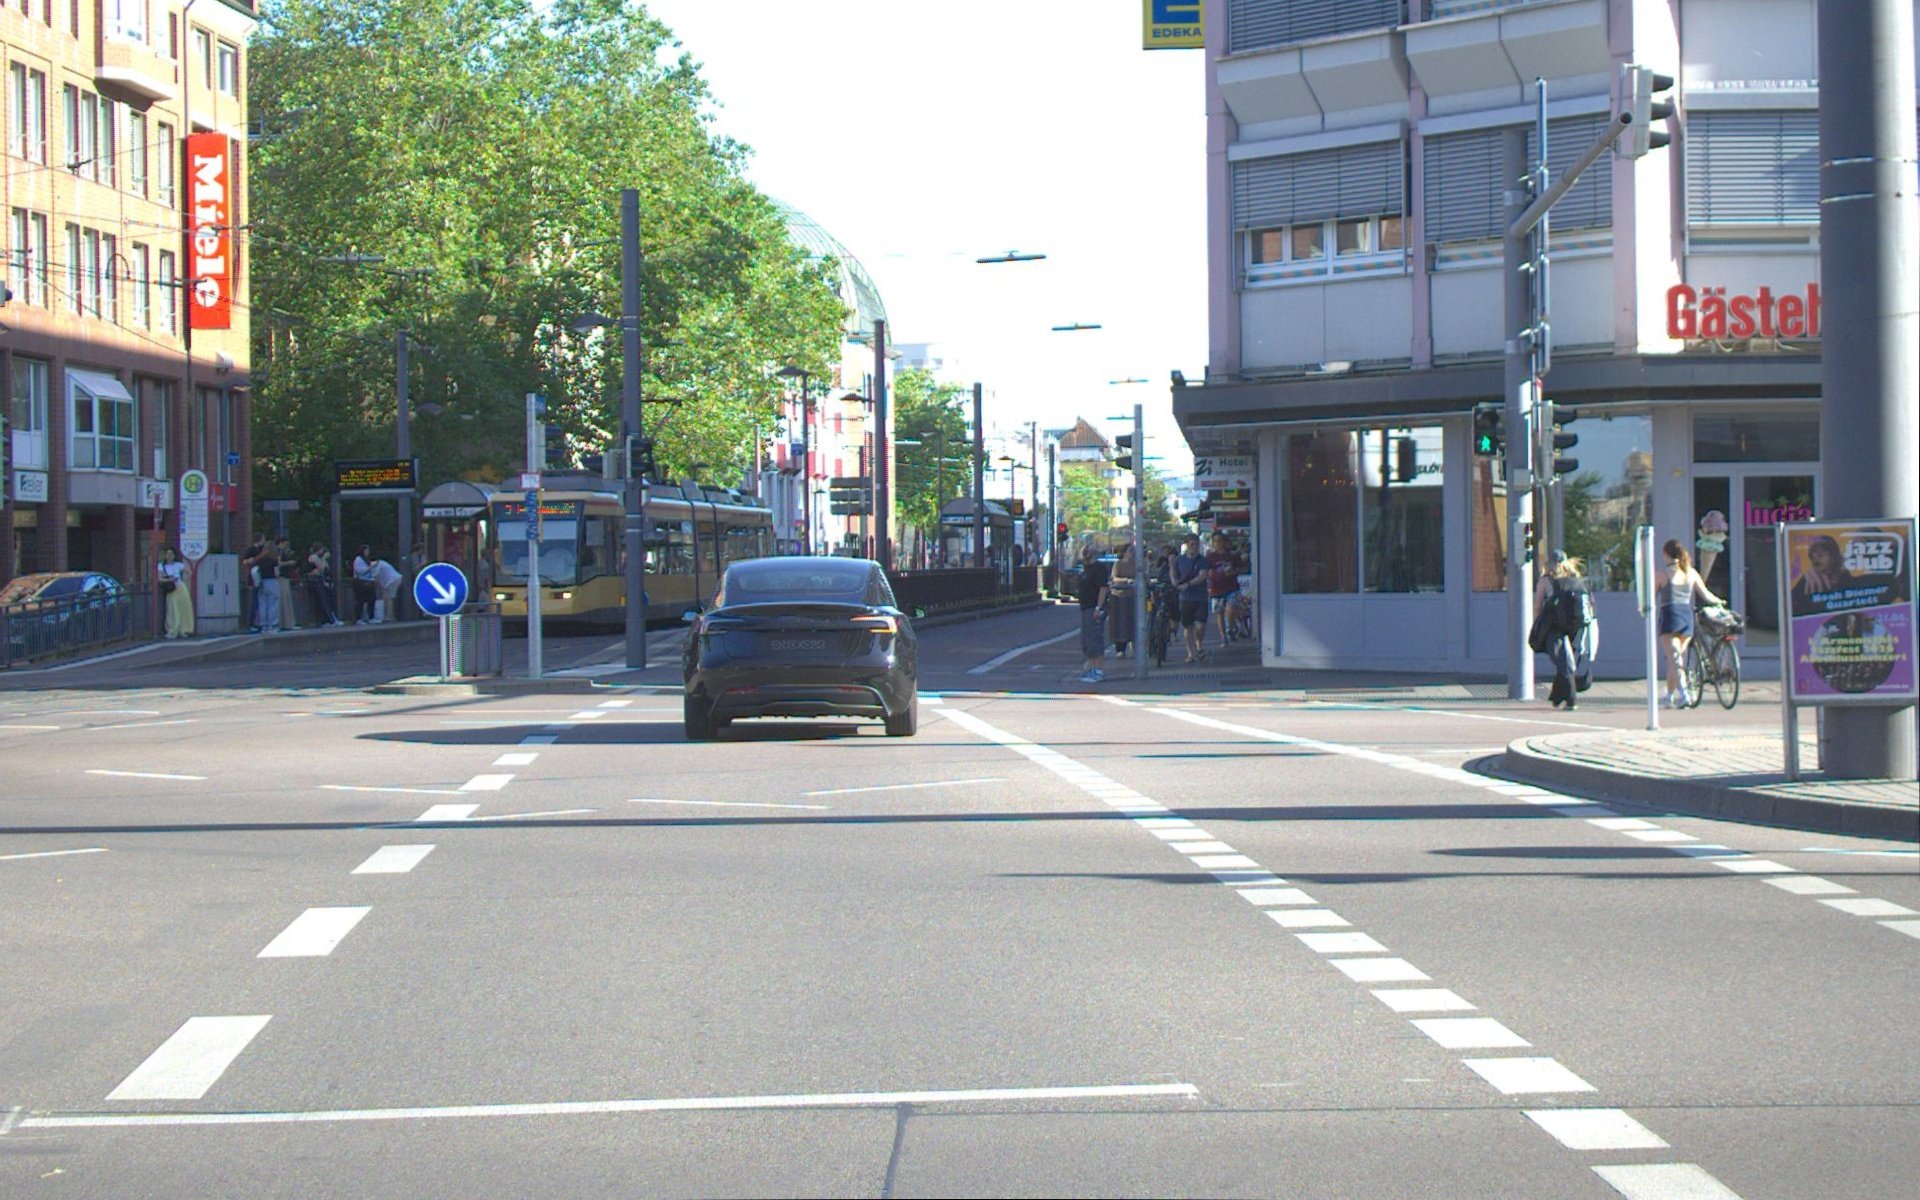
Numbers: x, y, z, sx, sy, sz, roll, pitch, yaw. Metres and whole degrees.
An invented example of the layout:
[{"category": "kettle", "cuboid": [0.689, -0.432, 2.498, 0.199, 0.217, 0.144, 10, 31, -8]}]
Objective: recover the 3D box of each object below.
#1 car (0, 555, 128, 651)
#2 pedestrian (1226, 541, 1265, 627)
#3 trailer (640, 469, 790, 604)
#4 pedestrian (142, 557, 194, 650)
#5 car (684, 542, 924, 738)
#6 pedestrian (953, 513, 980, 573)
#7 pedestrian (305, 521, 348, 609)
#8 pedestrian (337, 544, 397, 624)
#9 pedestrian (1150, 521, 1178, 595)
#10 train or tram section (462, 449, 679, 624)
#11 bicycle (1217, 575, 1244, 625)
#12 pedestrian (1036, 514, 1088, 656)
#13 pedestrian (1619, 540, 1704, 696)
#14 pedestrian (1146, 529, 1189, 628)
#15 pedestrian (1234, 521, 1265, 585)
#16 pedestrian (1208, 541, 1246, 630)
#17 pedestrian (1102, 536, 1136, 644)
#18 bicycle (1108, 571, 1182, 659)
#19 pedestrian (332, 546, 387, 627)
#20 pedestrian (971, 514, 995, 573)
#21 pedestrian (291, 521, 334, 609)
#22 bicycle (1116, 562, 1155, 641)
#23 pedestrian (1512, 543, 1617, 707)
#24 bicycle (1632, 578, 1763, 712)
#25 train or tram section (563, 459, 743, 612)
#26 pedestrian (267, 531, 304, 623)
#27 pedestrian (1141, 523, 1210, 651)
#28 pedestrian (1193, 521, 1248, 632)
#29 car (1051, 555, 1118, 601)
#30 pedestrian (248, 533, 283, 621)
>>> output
[{"category": "car", "cuboid": [-15.614, 0.039, 58.480, 1.817, 1.538, 3.792, -2, 1, 3]}, {"category": "pedestrian", "cuboid": [5.640, -0.321, 67.981, 0.747, 1.672, 0.699, 0, 1, 6]}, {"category": "trailer", "cuboid": [-6.617, -1.738, 94.375, 2.714, 3.534, 9.357, 0, 1, 5]}, {"category": "pedestrian", "cuboid": [-13.398, 0.059, 58.169, 0.636, 1.558, 0.584, 1, 1, 24]}, {"category": "car", "cuboid": [-1.221, 0.300, 27.901, 1.790, 1.446, 3.940, -1, 0, -1]}, {"category": "pedestrian", "cuboid": [0.197, -1.690, 102.295, 0.757, 1.763, 0.699, 0, 1, 4]}, {"category": "pedestrian", "cuboid": [-12.482, -0.697, 67.770, 0.636, 1.715, 0.609, 0, 1, 13]}, {"category": "pedestrian", "cuboid": [-12.081, -0.328, 70.056, 1.105, 1.619, 0.848, 0, 1, -3]}, {"category": "pedestrian", "cuboid": [5.264, -1.093, 88.624, 0.697, 1.890, 0.750, 0, 1, 5]}, {"category": "train or tram section", "cuboid": [-8.295, -1.374, 74.598, 2.729, 3.530, 10.085, 0, 1, 5]}, {"category": "bicycle", "cuboid": [4.674, -0.005, 59.315, 0.414, 0.854, 1.237, 0, 1, 7]}, {"category": "pedestrian", "cuboid": [1.290, -0.192, 43.612, 0.626, 1.776, 0.918, 0, 1, 0]}, {"category": "pedestrian", "cuboid": [7.072, 0.171, 34.670, 0.525, 1.549, 0.868, 0, 1, -12]}, {"category": "pedestrian", "cuboid": [3.551, -0.371, 58.734, 0.697, 1.672, 0.750, 0, 1, 5]}, {"category": "pedestrian", "cuboid": [8.027, -1.300, 95.216, 0.842, 1.750, 0.787, 0, 1, 5]}, {"category": "pedestrian", "cuboid": [5.057, -0.271, 65.046, 0.697, 1.672, 0.750, 0, 1, 5]}, {"category": "pedestrian", "cuboid": [2.295, -0.148, 49.763, 0.471, 1.557, 0.545, 0, 1, 1]}, {"category": "bicycle", "cuboid": [2.529, 0.195, 47.107, 0.488, 1.157, 1.974, 0, 1, -13]}, {"category": "pedestrian", "cuboid": [-12.068, -0.272, 69.143, 0.999, 1.619, 0.848, 0, 1, -3]}, {"category": "pedestrian", "cuboid": [0.696, -1.706, 103.635, 0.678, 1.763, 0.663, 0, 1, 2]}, {"category": "pedestrian", "cuboid": [-12.644, -0.690, 67.154, 0.636, 1.715, 0.585, 0, 1, 13]}, {"category": "bicycle", "cuboid": [2.512, 0.006, 49.210, 0.488, 1.098, 2.124, 0, 1, 5]}, {"category": "pedestrian", "cuboid": [5.971, 0.237, 33.999, 0.779, 1.571, 0.868, 0, 2, -8]}, {"category": "bicycle", "cuboid": [7.394, 0.434, 34.527, 0.543, 1.280, 1.908, 0, 1, -12]}, {"category": "train or tram section", "cuboid": [-7.428, -1.577, 84.658, 2.714, 3.534, 10.167, 0, 1, 5]}, {"category": "pedestrian", "cuboid": [-12.706, -0.441, 64.794, 0.635, 1.715, 0.585, 0, 1, -16]}, {"category": "pedestrian", "cuboid": [2.968, -0.185, 47.326, 0.915, 1.748, 0.839, 0, 1, 6]}, {"category": "pedestrian", "cuboid": [3.966, -0.359, 52.438, 0.686, 1.682, 0.671, 0, 1, -9]}, {"category": "car", "cuboid": [4.570, -0.823, 125.862, 1.738, 1.659, 3.706, 0, 1, 14]}, {"category": "pedestrian", "cuboid": [-12.154, -0.404, 60.138, 0.583, 1.525, 0.638, 0, 1, -10]}]
